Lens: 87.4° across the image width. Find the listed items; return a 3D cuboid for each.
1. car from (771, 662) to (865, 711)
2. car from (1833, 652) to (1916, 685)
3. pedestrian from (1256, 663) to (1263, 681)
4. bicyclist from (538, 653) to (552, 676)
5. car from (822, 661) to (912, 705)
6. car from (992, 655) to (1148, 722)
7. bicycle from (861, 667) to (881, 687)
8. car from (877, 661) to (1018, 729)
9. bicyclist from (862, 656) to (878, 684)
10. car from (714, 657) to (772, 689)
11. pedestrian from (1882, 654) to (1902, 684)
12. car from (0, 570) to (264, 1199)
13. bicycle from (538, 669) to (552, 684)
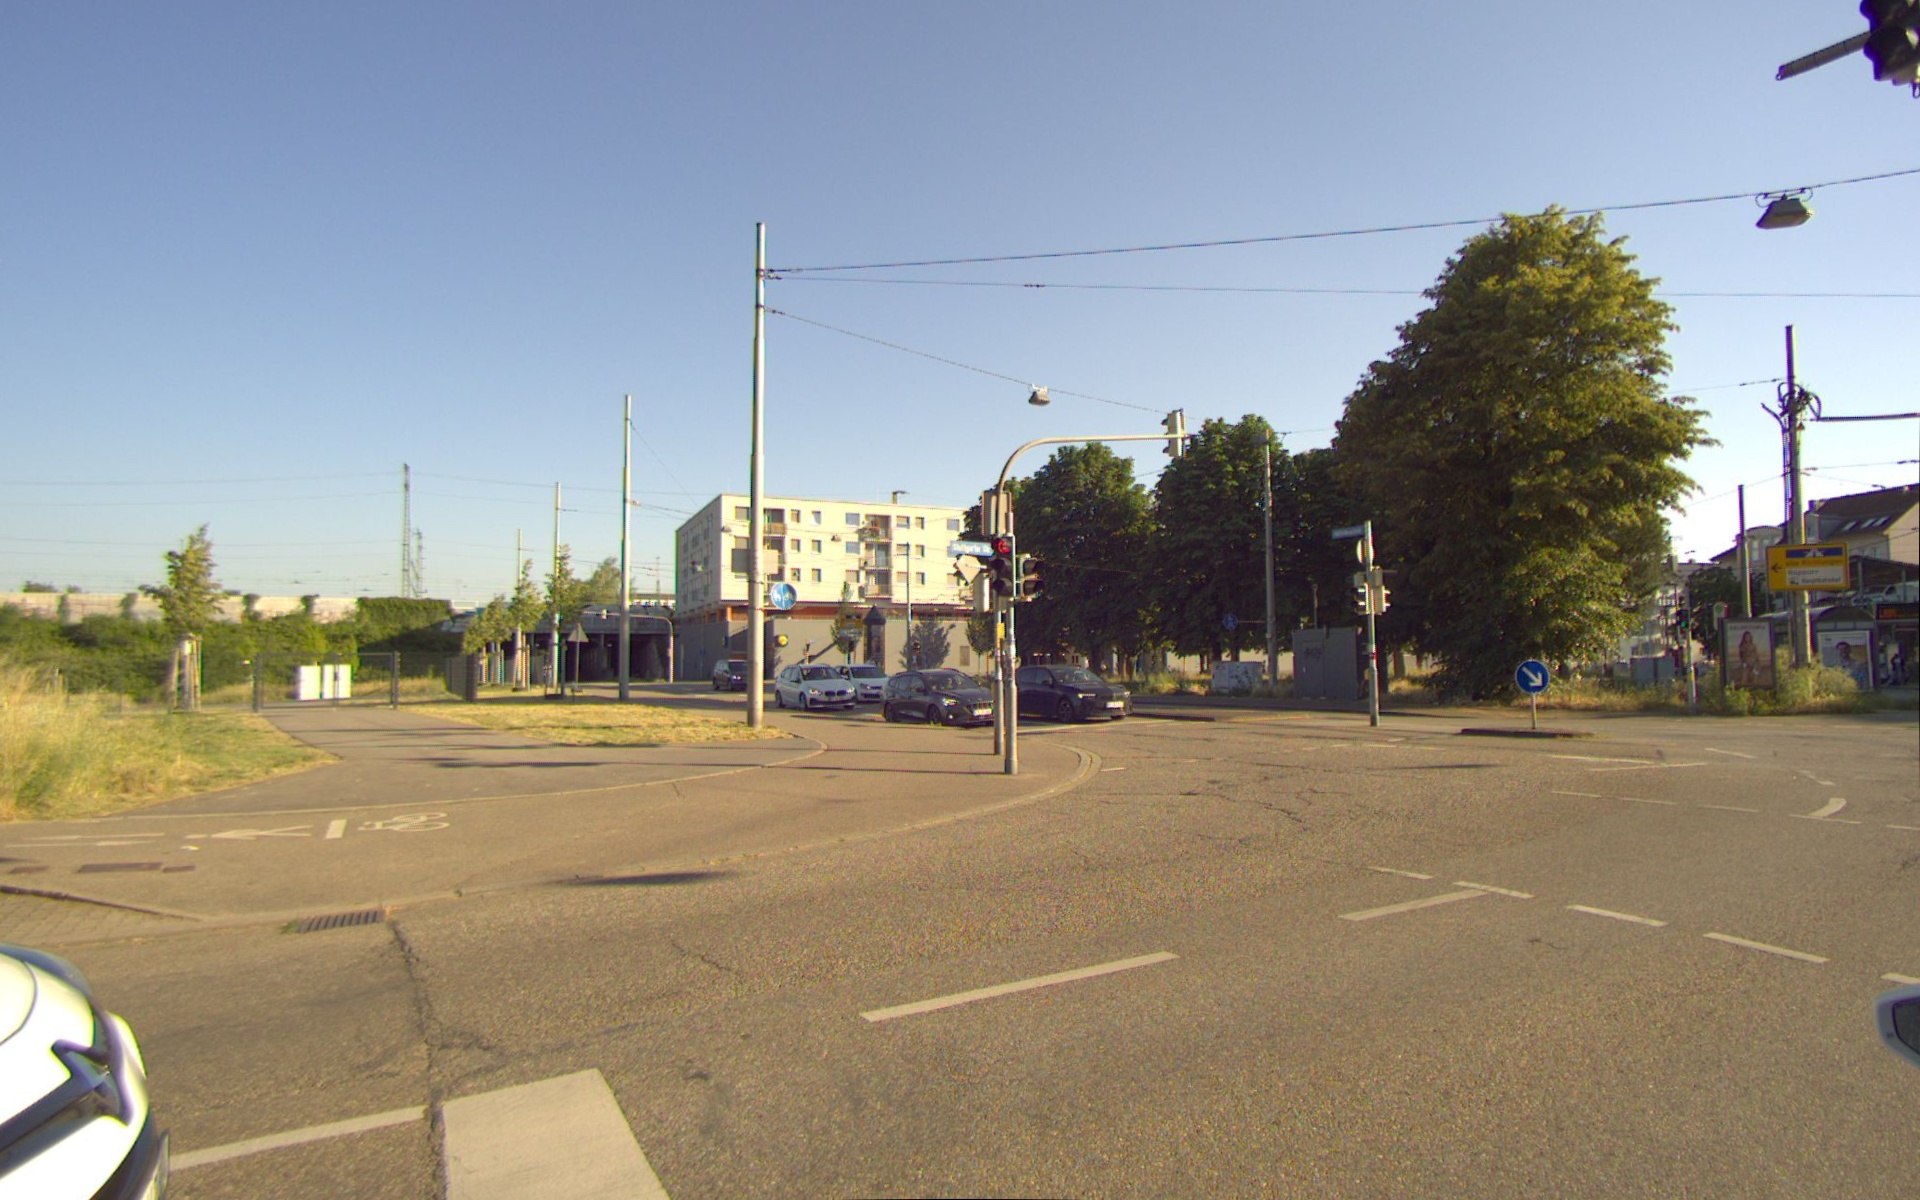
[{"bbox_3d":[-5.033,2.961,35.040,1.975,1.587,4.246,1,-4,-27],"label":"car"},{"bbox_3d":[59.355,4.421,65.343,2.017,1.987,5.153,-4,-4,19],"label":"car"},{"bbox_3d":[25.862,6.185,86.764,0.398,1.527,0.372,-2,-4,33],"label":"pedestrian"},{"bbox_3d":[-30.272,4.705,73.351,0.865,1.646,0.969,1,-3,-19],"label":"bicyclist"},{"bbox_3d":[-3.683,3.188,38.959,1.975,1.587,4.426,1,-4,-27],"label":"car"},{"bbox_3d":[2.774,2.272,26.405,2.027,1.587,4.423,1,-4,-26],"label":"car"},{"bbox_3d":[-5.322,4.580,59.747,0.689,1.157,2.193,1,-4,-18],"label":"bicycle"},{"bbox_3d":[-0.430,2.394,26.117,1.975,1.587,4.246,1,-4,-27],"label":"car"},{"bbox_3d":[-5.358,4.157,59.851,0.702,1.650,1.038,1,-2,-18],"label":"bicyclist"},{"bbox_3d":[-11.730,3.912,54.086,1.975,1.587,4.426,1,-4,-27],"label":"car"},{"bbox_3d":[47.950,3.535,51.685,0.558,1.520,0.677,-2,-4,32],"label":"pedestrian"},{"bbox_3d":[-3.058,0.711,1.005,3.733,1.488,1.692,2,-4,-32],"label":"car"},{"bbox_3d":[-30.275,5.603,73.275,0.743,1.107,1.942,2,-5,-19],"label":"bicycle"}]
